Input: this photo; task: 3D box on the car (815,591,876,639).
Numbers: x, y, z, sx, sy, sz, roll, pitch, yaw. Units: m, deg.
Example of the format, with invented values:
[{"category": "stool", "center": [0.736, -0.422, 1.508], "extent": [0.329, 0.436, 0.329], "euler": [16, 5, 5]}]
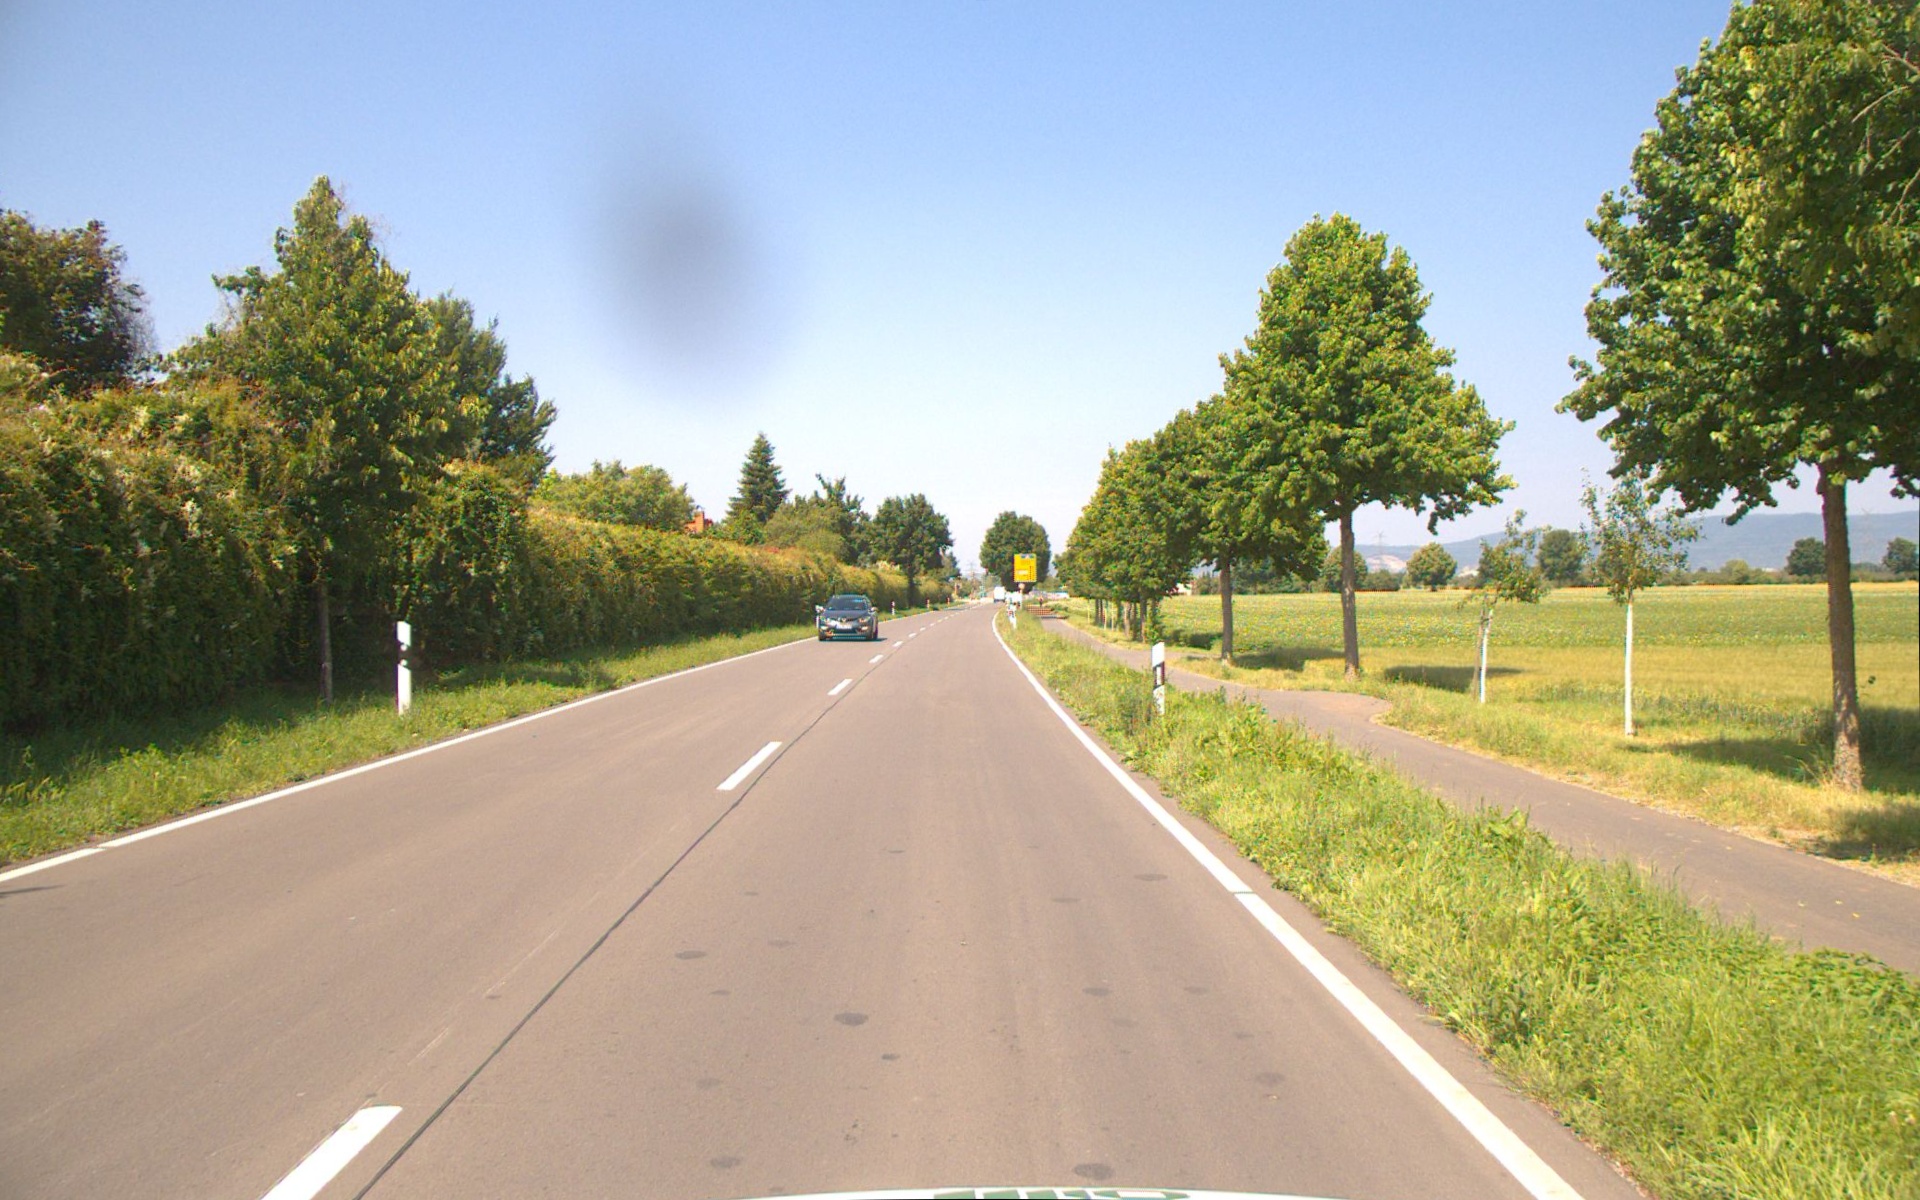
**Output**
[{"category": "car", "center": [-3.740, 0.465, 54.539], "extent": [1.803, 1.493, 3.931], "euler": [-1, 0, -2]}]
